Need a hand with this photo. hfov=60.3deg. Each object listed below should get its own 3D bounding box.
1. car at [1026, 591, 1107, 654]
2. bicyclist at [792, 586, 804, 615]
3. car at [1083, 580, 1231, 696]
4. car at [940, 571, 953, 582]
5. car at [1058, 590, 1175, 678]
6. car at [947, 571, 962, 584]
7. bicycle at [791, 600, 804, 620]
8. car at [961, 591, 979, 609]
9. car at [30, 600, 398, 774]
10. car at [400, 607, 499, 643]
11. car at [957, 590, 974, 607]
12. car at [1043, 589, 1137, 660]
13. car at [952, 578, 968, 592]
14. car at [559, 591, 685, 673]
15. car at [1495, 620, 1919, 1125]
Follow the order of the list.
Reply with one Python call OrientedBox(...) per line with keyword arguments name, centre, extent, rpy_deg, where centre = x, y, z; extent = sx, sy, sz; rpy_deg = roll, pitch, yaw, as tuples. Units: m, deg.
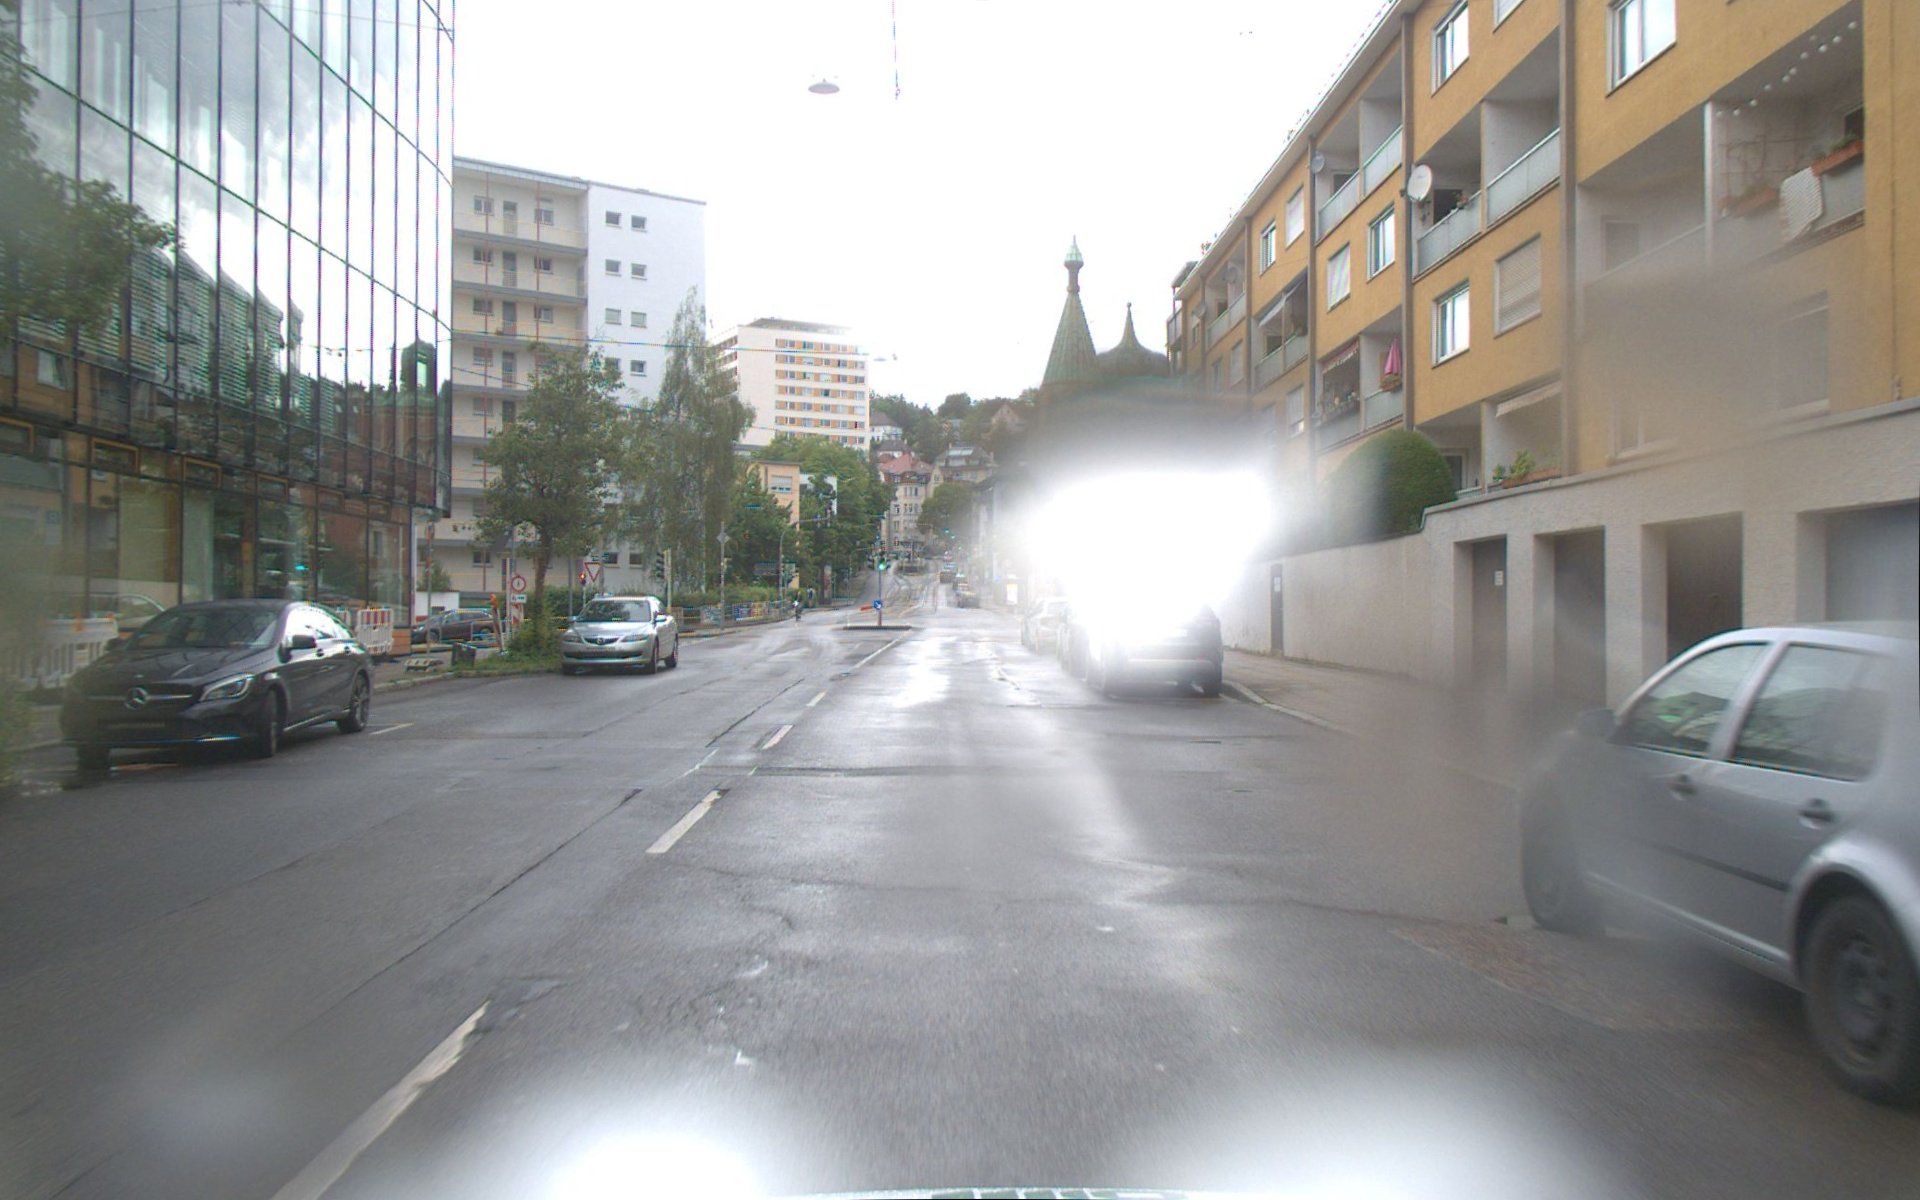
OrientedBox(name="car", centre=(2.788, 0.551, 44.219), extent=(1.781, 1.549, 4.075), rpy_deg=(2, 0, -1))
OrientedBox(name="bicyclist", centre=(-9.502, 0.037, 96.851), extent=(0.663, 1.690, 0.649), rpy_deg=(0, -1, -4))
OrientedBox(name="car", centre=(3.081, 0.554, 26.651), extent=(1.781, 1.681, 4.075), rpy_deg=(2, 0, -1))
OrientedBox(name="car", centre=(-1.915, -3.300, 234.157), extent=(1.869, 1.536, 3.999), rpy_deg=(1, 0, -1))
OrientedBox(name="car", centre=(2.973, 0.606, 32.210), extent=(1.781, 1.549, 4.075), rpy_deg=(2, 0, -1))
OrientedBox(name="car", centre=(-0.720, -2.886, 213.953), extent=(1.869, 1.536, 3.999), rpy_deg=(2, 0, -1))
OrientedBox(name="bicycle", centre=(-9.507, 0.582, 96.863), extent=(0.663, 1.127, 1.799), rpy_deg=(0, 0, -4))
OrientedBox(name="car", centre=(0.981, -0.039, 161.372), extent=(1.696, 1.682, 4.001), rpy_deg=(0, 1, 2))
OrientedBox(name="car", centre=(-7.191, 0.755, 16.522), extent=(1.767, 1.476, 4.655), rpy_deg=(-1, 0, -3))
OrientedBox(name="car", centre=(-23.080, 1.129, 74.814), extent=(3.962, 1.536, 1.775), rpy_deg=(0, 1, -40))
OrientedBox(name="car", centre=(0.590, -0.164, 172.711), extent=(1.813, 1.797, 4.000), rpy_deg=(1, 0, 0))
OrientedBox(name="car", centre=(3.029, 0.540, 39.270), extent=(1.781, 1.549, 4.075), rpy_deg=(2, 0, -1))
OrientedBox(name="car", centre=(-0.036, -1.801, 197.856), extent=(1.854, 1.536, 3.999), rpy_deg=(2, 0, -1))
OrientedBox(name="car", centre=(-6.466, 0.589, 32.061), extent=(1.675, 1.476, 4.292), rpy_deg=(-1, 0, -2))
OrientedBox(name="car", centre=(3.546, 0.811, 6.296), extent=(1.630, 1.424, 3.919), rpy_deg=(0, 0, -2))
